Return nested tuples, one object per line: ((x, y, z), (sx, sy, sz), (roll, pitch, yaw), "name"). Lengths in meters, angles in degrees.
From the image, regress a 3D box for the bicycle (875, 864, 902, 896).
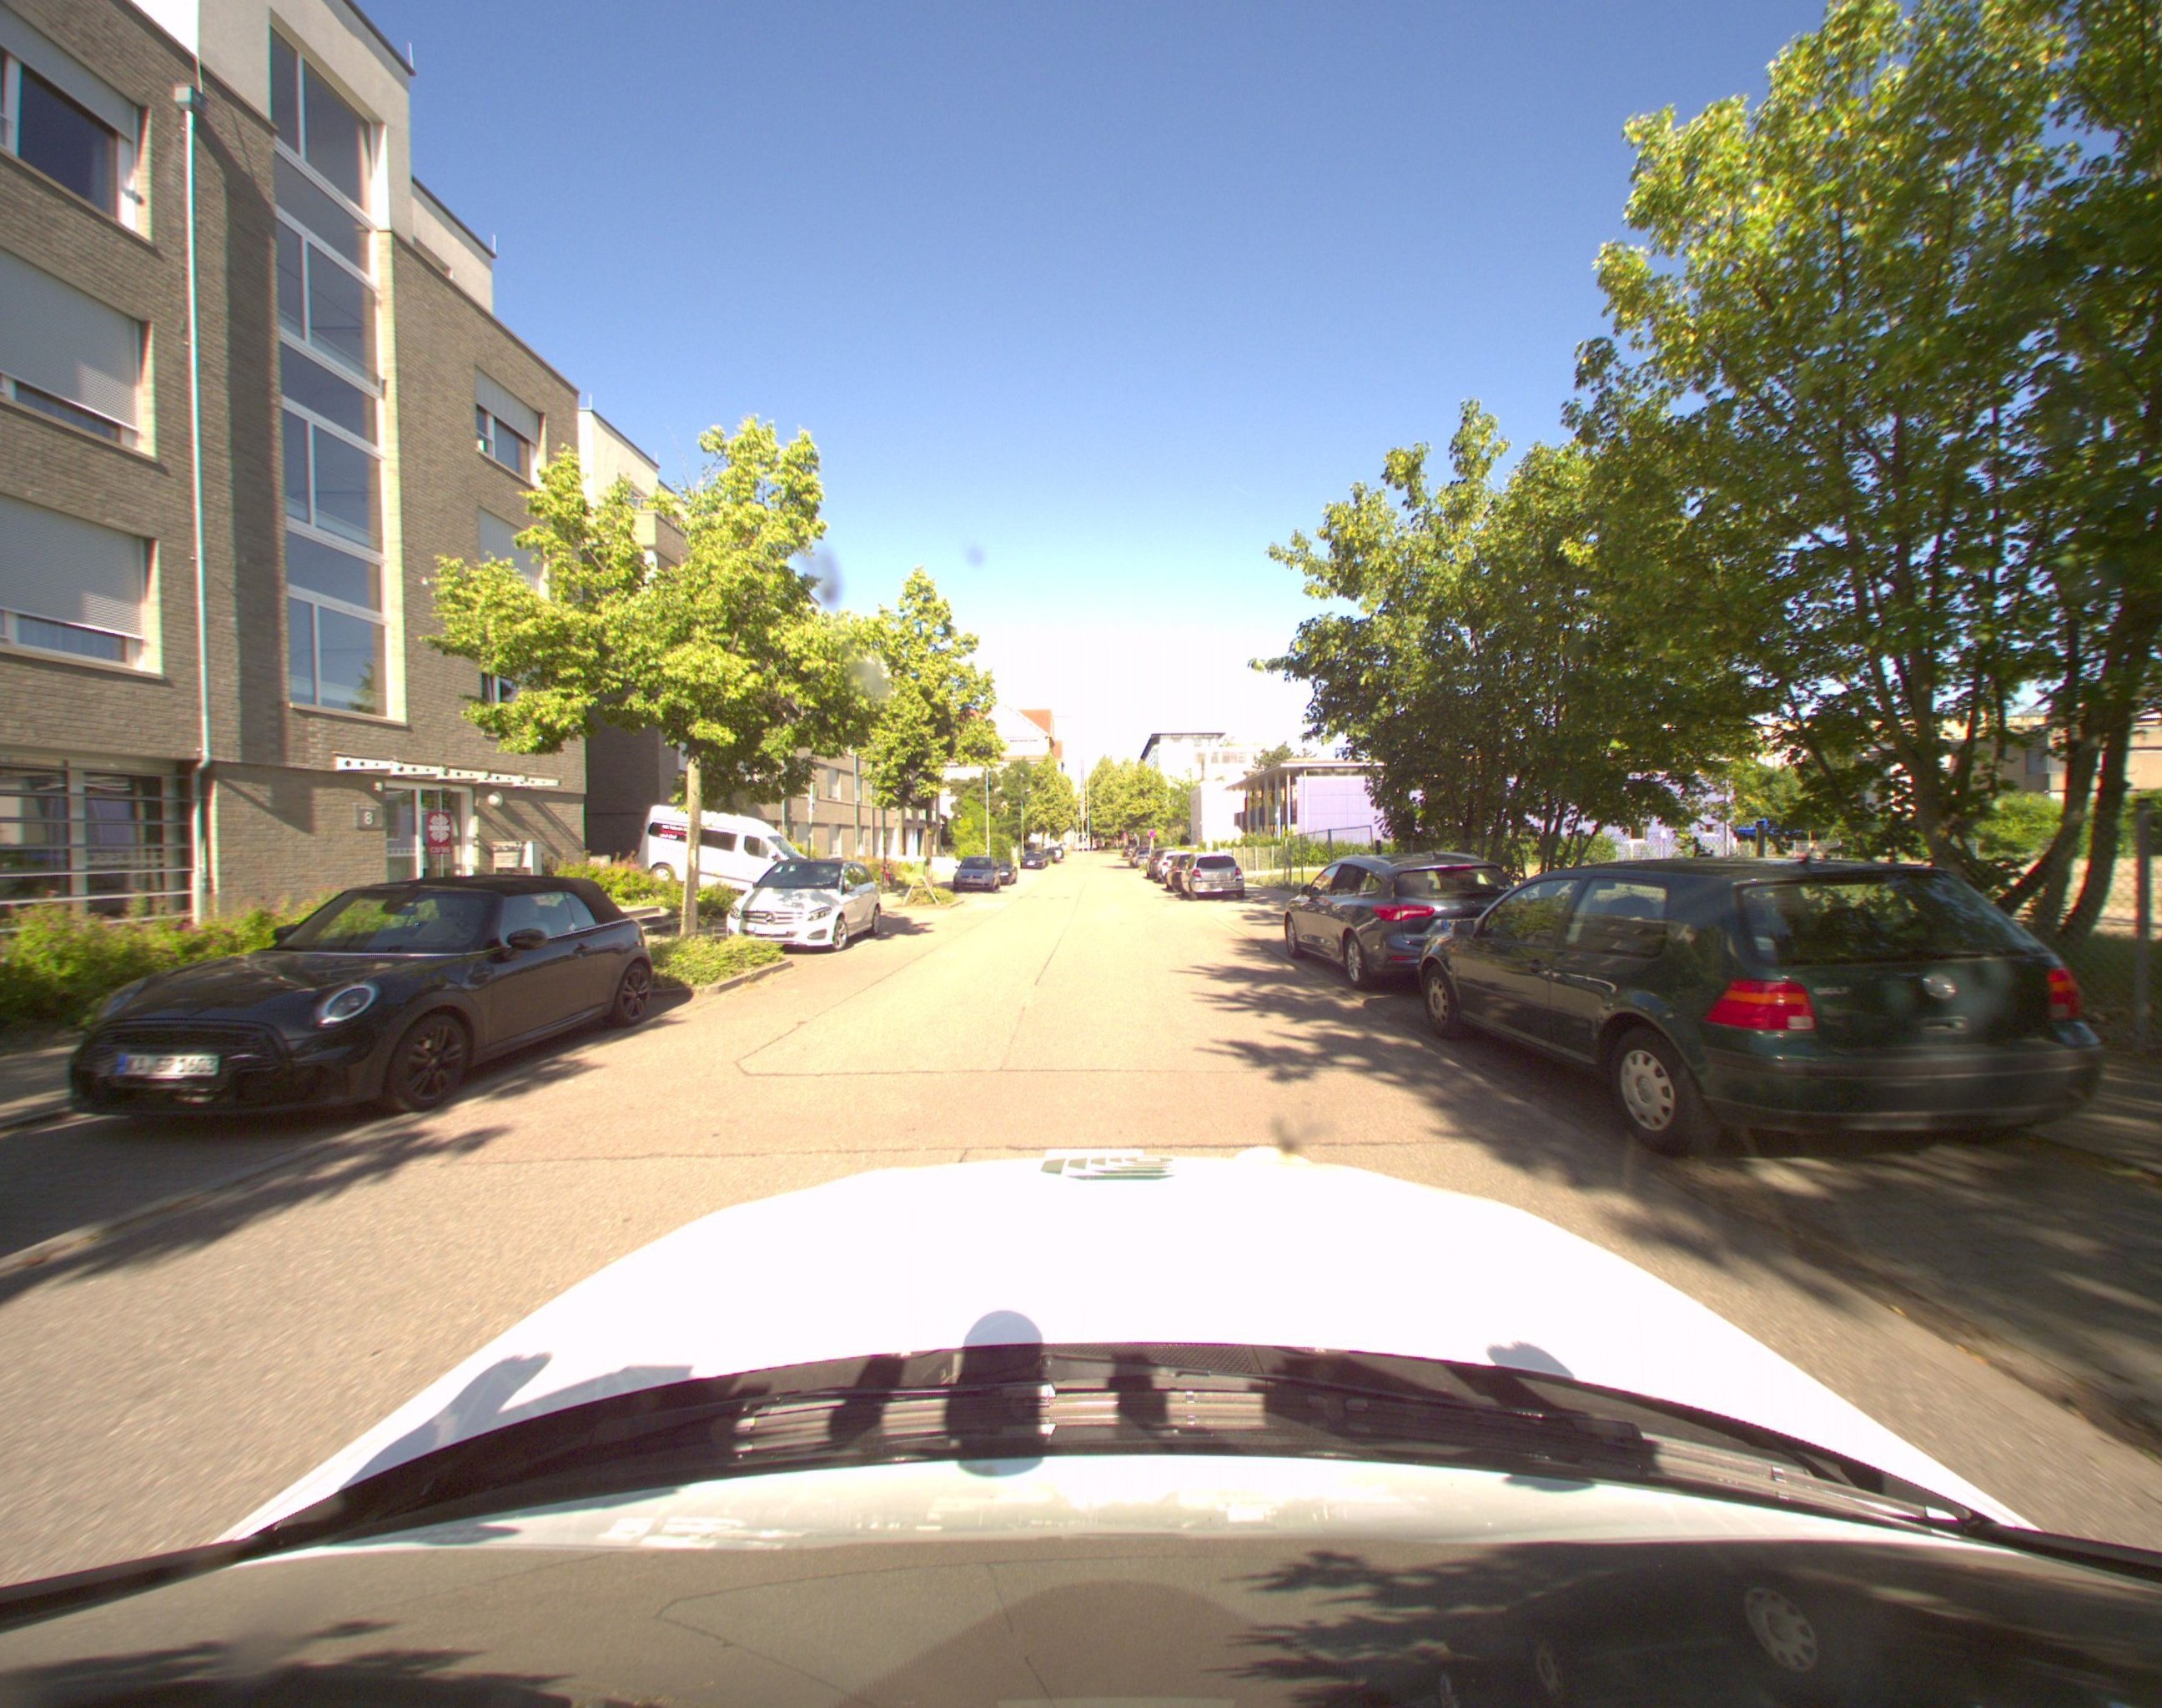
((-7.274, 0.983, 30.899), (0.282, 1.124, 1.989), (-1, 0, 8), "bicycle")

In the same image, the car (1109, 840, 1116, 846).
((9.740, -3.389, 249.900), (1.986, 2.013, 4.002), (-1, 1, 2), "car")

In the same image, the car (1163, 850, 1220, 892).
((4.217, 0.631, 31.546), (1.681, 1.494, 4.078), (-1, 0, 1), "car")

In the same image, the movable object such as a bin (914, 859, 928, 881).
((-8.354, 0.841, 42.605), (0.605, 1.090, 0.636), (-1, 1, 0), "movable object such as a bin")

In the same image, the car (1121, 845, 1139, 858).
((5.989, -0.346, 99.571), (1.986, 1.486, 4.001), (-1, 0, 1), "car")

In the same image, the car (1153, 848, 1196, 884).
((4.477, 0.547, 39.387), (1.674, 1.542, 3.850), (-1, 1, 1), "car")

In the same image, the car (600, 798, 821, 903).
((-10.930, -0.096, 24.365), (5.433, 2.383, 1.920), (7, 0, -3), "car")

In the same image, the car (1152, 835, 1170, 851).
((10.448, -1.390, 106.068), (2.016, 2.013, 4.001), (-1, 1, 1), "car")

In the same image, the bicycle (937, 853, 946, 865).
((-10.825, 0.374, 63.299), (0.252, 0.837, 1.777), (-1, 1, 5), "bicycle")

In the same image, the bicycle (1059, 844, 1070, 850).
((-2.371, -0.975, 117.712), (1.464, 0.842, 0.335), (-1, 1, -3), "bicycle")

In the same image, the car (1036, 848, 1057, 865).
((-3.368, 0.254, 79.754), (1.688, 1.605, 3.943), (-1, 0, 1), "car")

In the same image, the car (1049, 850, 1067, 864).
((-2.606, 0.294, 93.421), (1.771, 1.530, 4.001), (-1, 0, 1), "car")

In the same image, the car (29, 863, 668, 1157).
((-4.934, 0.865, 6.324), (1.574, 1.504, 3.787), (-1, 0, -2), "car")

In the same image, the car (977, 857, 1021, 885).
((-4.000, 0.815, 40.343), (1.592, 1.217, 3.877), (1, 1, 2), "car")

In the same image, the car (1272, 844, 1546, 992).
((3.760, 0.633, 10.266), (1.670, 1.437, 4.439), (-1, 0, 0), "car")

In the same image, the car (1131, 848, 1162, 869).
((5.045, 0.322, 62.960), (1.825, 1.422, 4.230), (-4, 0, -2), "car")

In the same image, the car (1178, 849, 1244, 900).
((4.177, 0.621, 26.716), (1.656, 1.513, 4.002), (-1, 0, 2), "car")

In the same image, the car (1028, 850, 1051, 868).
((-3.568, 0.399, 70.298), (1.624, 1.501, 3.579), (-1, 0, 1), "car")

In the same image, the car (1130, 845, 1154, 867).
((5.253, 0.177, 70.526), (1.815, 1.718, 4.120), (-3, 0, 1), "car")

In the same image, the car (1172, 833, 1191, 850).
((13.046, -1.616, 106.063), (1.986, 2.013, 4.001), (-1, 1, 1), "car")

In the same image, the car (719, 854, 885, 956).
((-4.894, 0.800, 14.923), (1.655, 1.532, 4.284), (-1, 1, -2), "car")

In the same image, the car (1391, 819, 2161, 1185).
((3.712, 0.611, 5.373), (1.818, 1.472, 4.069), (-1, 0, 1), "car")

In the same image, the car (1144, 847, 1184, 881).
((4.478, 0.518, 44.453), (1.720, 1.652, 4.326), (-3, 1, 1), "car")

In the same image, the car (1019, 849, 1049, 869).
((-3.677, 0.375, 63.778), (1.753, 1.527, 4.006), (2, 0, 5), "car")

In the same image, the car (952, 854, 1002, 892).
((-4.408, 0.769, 35.018), (1.606, 1.465, 3.874), (-1, 0, 0), "car")
